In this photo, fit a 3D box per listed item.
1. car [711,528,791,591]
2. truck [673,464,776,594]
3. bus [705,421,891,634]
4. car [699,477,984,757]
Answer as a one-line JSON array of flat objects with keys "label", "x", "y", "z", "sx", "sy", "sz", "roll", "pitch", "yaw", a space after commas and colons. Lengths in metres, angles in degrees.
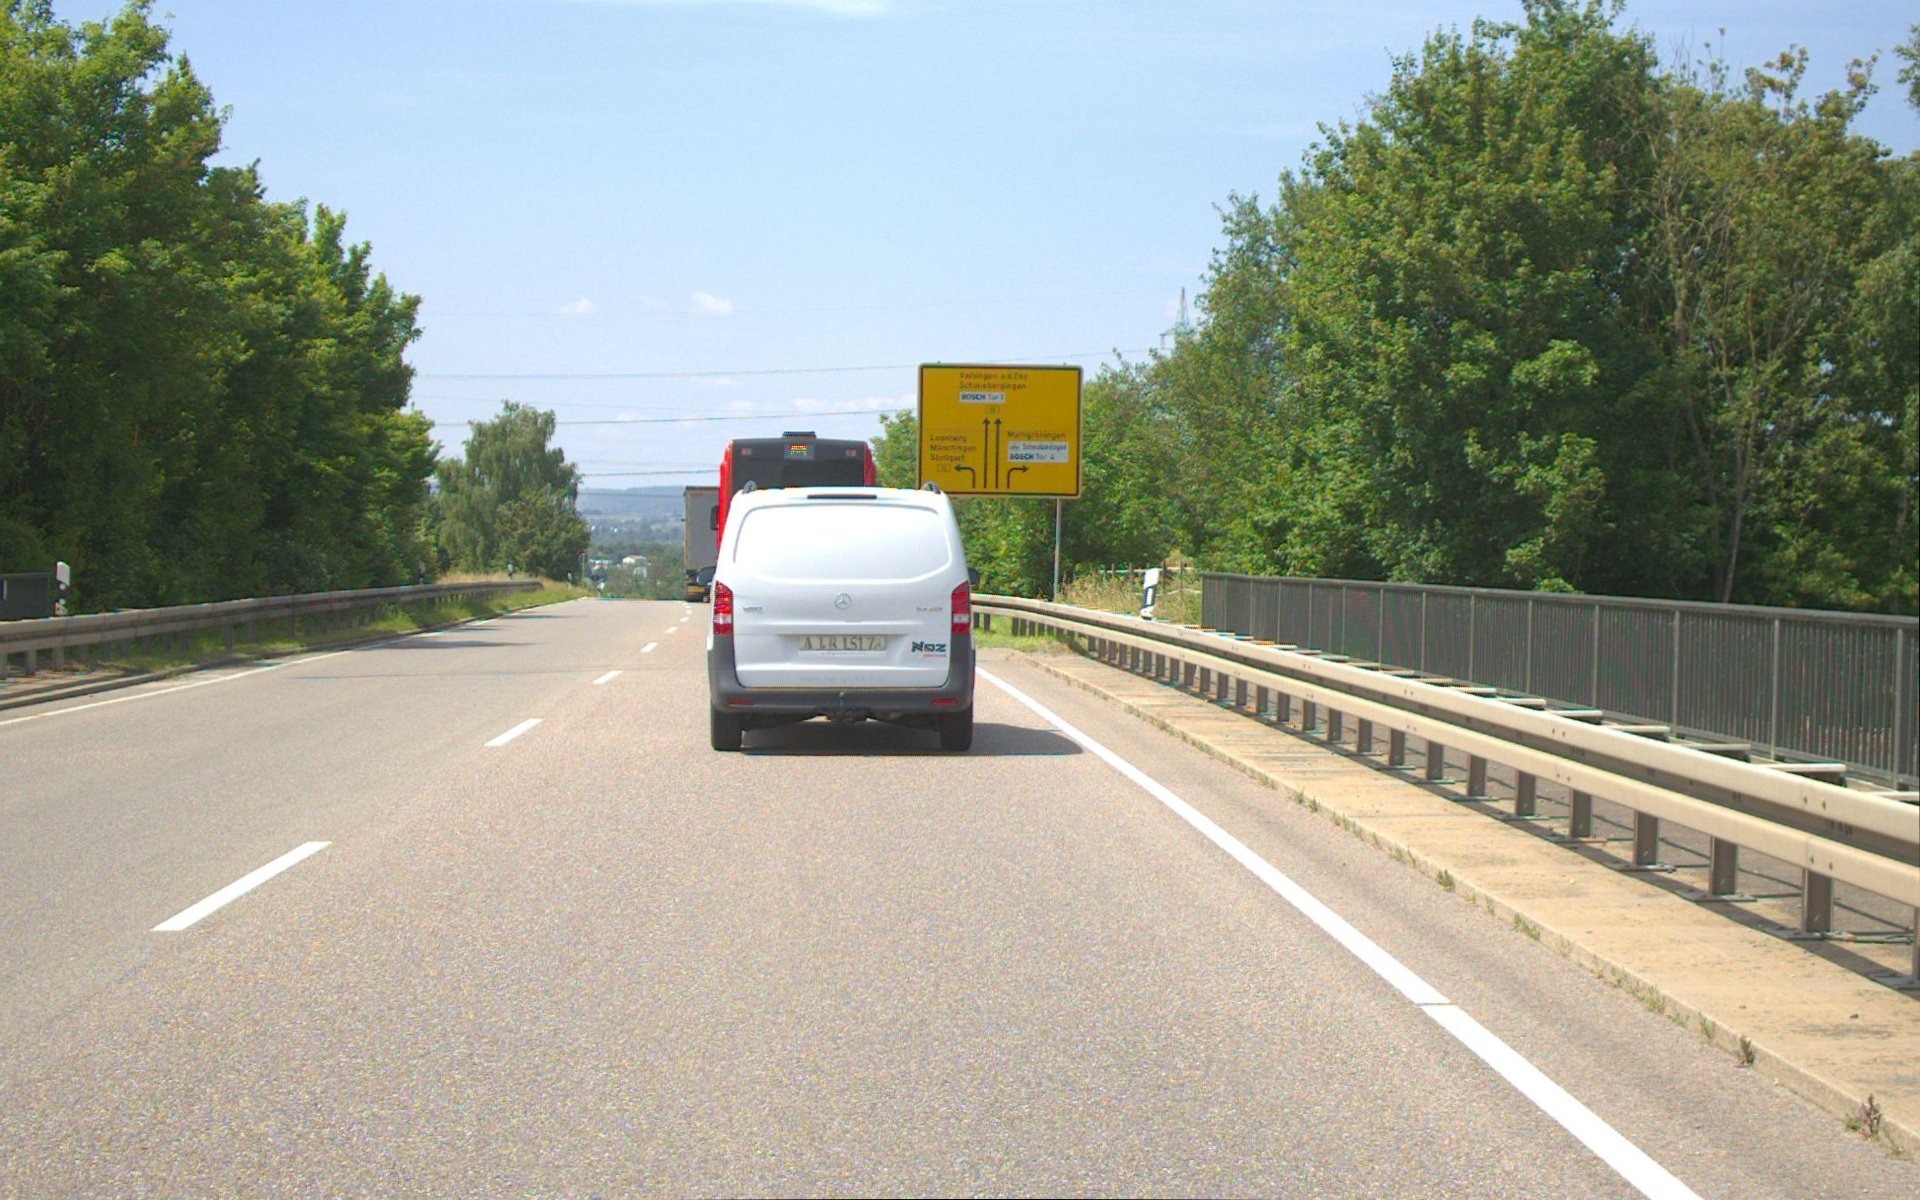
[{"label": "car", "x": -6.164, "y": -1.197, "z": 101.188, "sx": 1.993, "sy": 1.809, "sz": 4.001, "roll": 1, "pitch": 1, "yaw": -8}, {"label": "truck", "x": -8.601, "y": -2.604, "z": 124.841, "sx": 3.488, "sy": 4.408, "sz": 14.905, "roll": 0, "pitch": 1, "yaw": -4}, {"label": "bus", "x": -3.041, "y": -1.295, "z": 60.813, "sx": 2.746, "sy": 3.342, "sz": 13.224, "roll": 0, "pitch": 1, "yaw": -5}, {"label": "car", "x": -0.890, "y": 0.068, "z": 25.486, "sx": 1.923, "sy": 1.883, "sz": 4.001, "roll": 1, "pitch": 1, "yaw": -2}]
